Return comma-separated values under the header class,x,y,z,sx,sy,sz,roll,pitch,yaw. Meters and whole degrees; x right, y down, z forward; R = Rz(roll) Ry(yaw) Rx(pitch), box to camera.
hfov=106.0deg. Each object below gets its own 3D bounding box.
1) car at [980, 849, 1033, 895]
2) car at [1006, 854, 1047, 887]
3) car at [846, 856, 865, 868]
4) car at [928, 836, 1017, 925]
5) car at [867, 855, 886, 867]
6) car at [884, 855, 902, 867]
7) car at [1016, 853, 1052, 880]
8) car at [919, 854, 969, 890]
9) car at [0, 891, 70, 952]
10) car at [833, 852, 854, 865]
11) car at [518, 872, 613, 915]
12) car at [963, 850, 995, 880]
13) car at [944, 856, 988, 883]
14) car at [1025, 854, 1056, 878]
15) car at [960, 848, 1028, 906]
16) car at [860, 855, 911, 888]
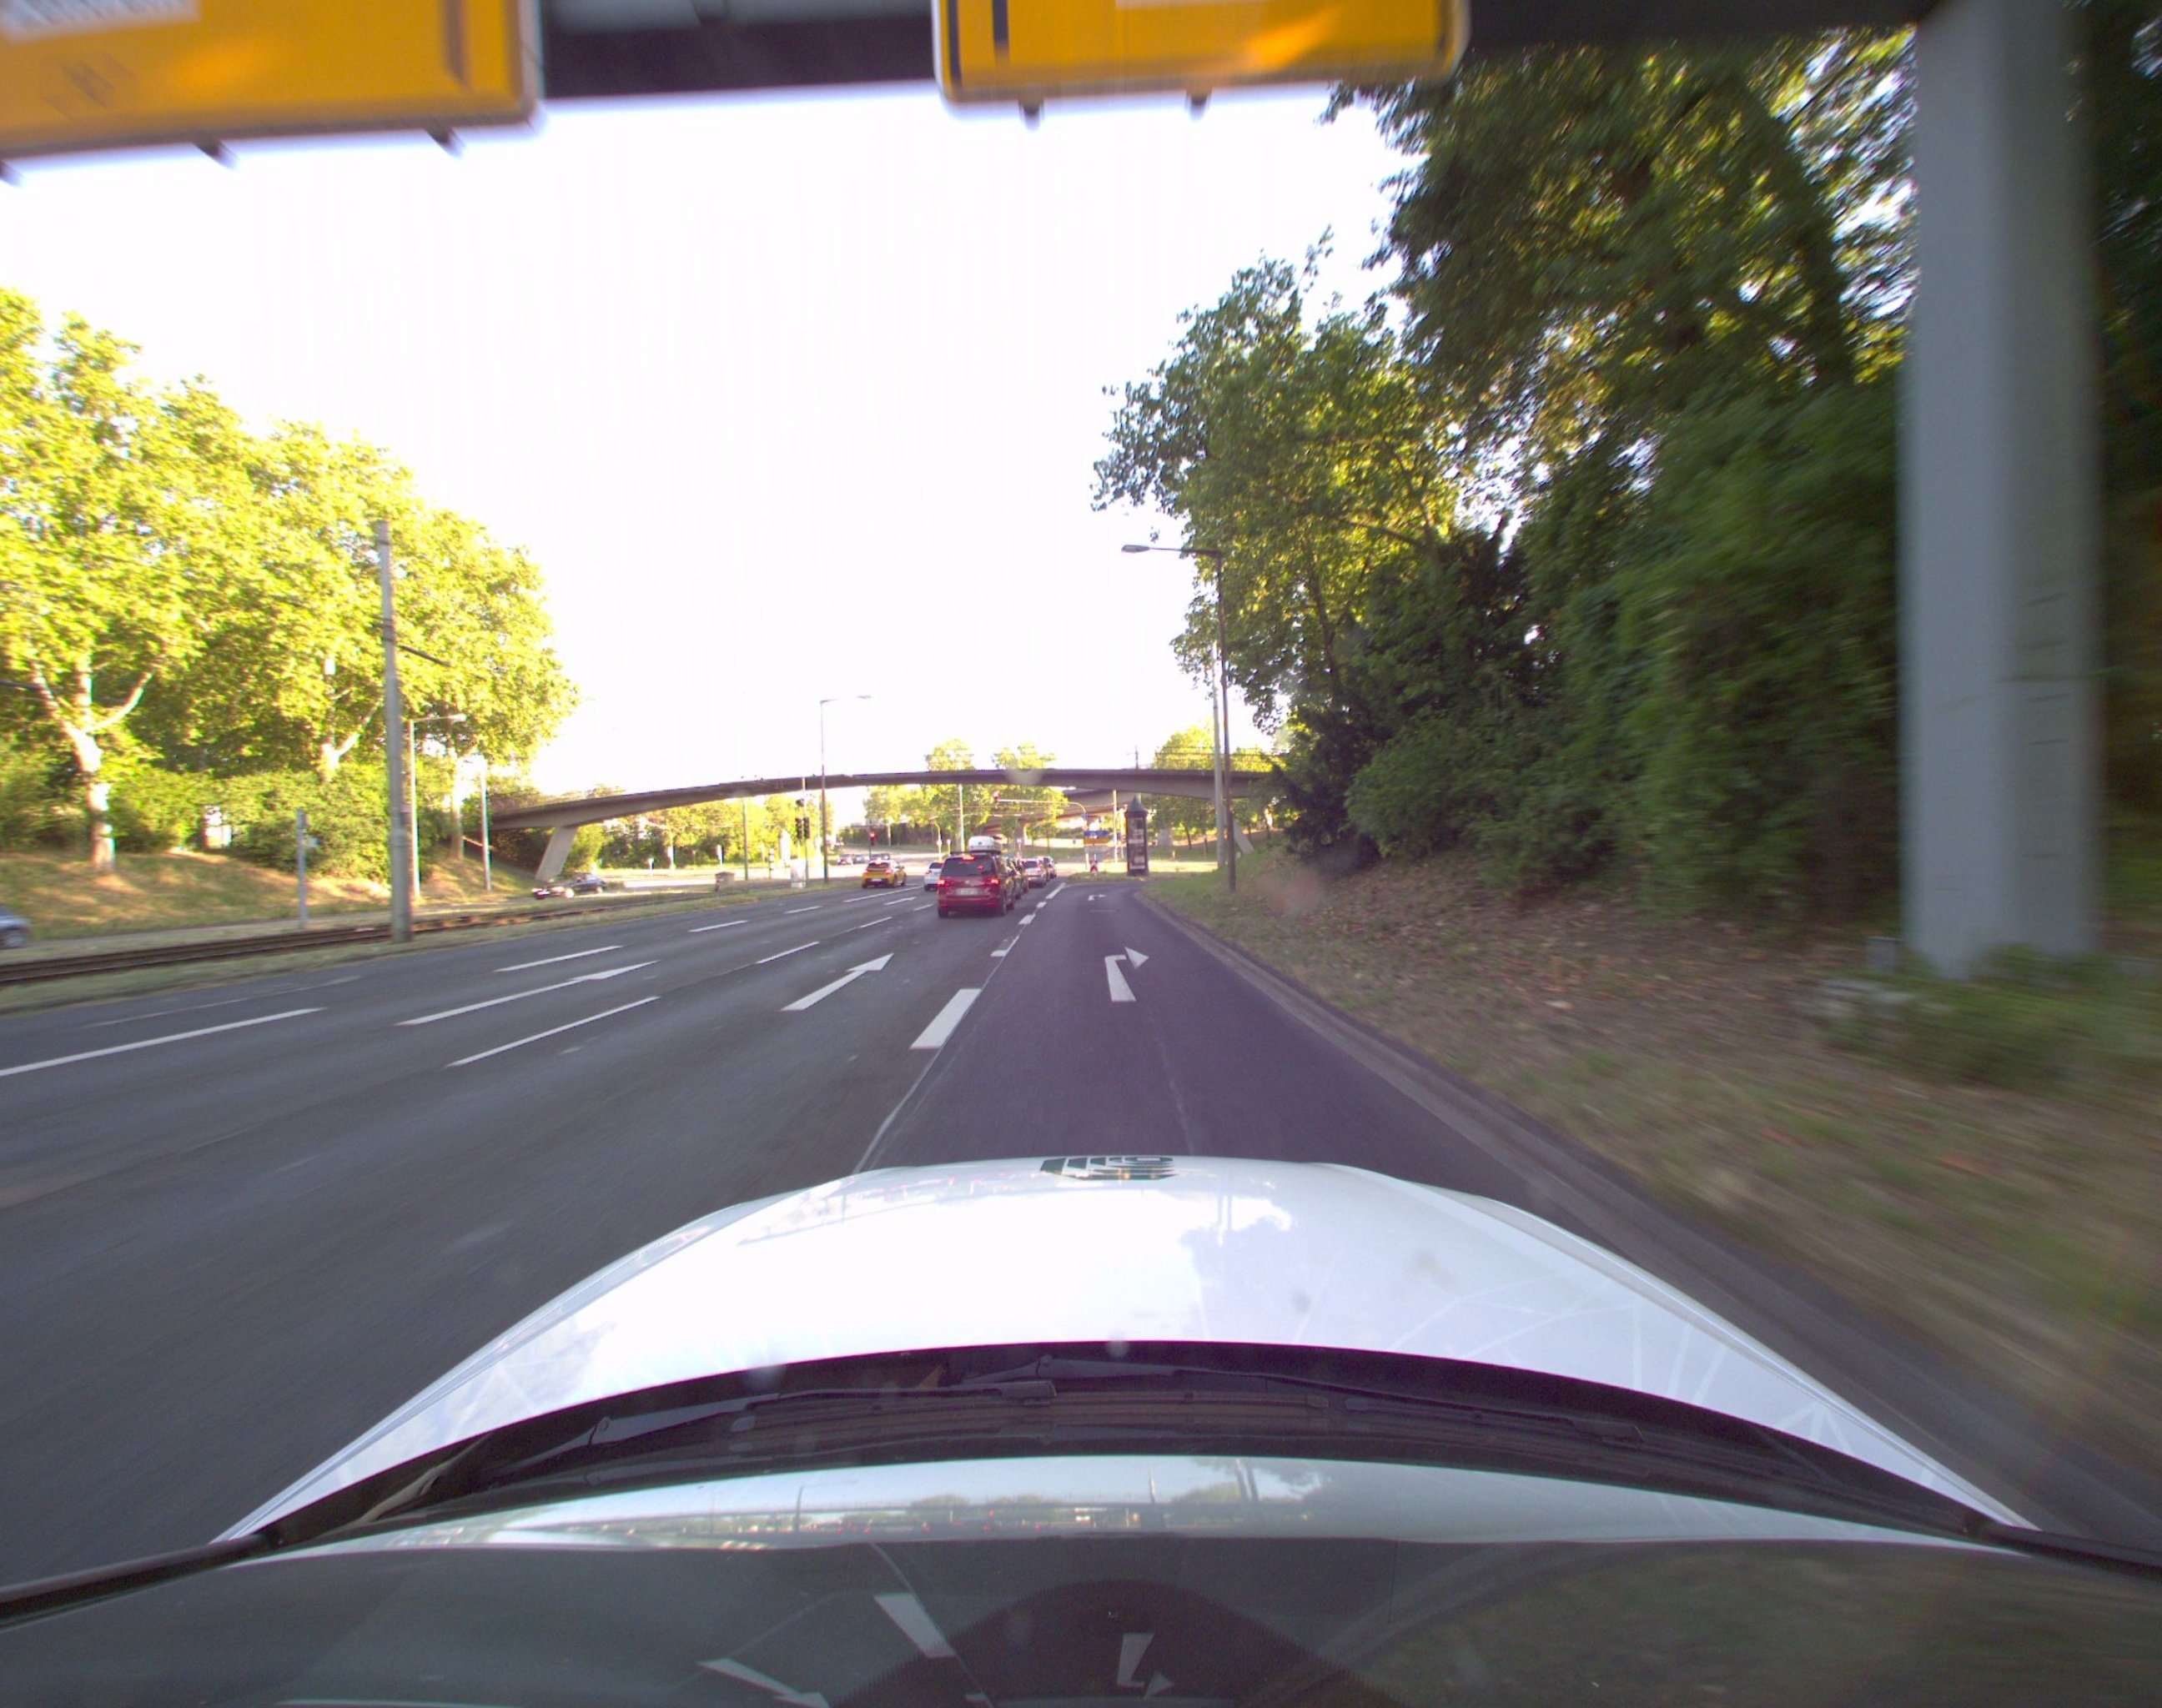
class,x,y,z,sx,sy,sz,roll,pitch,yaw
car,-3.148,0.725,34.963,1.786,1.749,4.000,-4,1,0
car,-2.799,0.822,42.762,1.786,1.481,4.000,-4,1,0
car,-34.239,1.246,123.840,1.873,1.772,3.998,-1,1,-1
car,-2.875,0.637,22.391,1.787,2.105,3.999,-4,0,0
car,-29.858,1.037,118.996,1.873,1.575,3.673,-1,1,-1
car,-29.003,1.115,125.695,1.873,1.772,3.998,-1,1,-1
car,-2.793,0.728,49.104,1.786,1.382,4.476,-4,1,0
car,-6.700,0.852,40.276,1.657,1.565,4.190,-4,1,0
car,-31.955,2.033,22.803,1.987,1.681,4.190,-3,0,0
car,-33.965,0.651,116.453,1.873,1.772,3.998,-1,1,-1
car,-28.516,2.138,45.219,1.910,2.013,4.521,-4,1,6
car,-6.805,0.690,54.731,1.789,1.792,4.818,-4,1,-5
car,-6.596,0.866,47.102,1.735,1.432,4.414,-1,1,2
car,-2.722,0.789,55.521,1.786,1.442,4.000,-4,1,0
car,-2.964,0.729,28.575,1.786,1.749,4.241,-4,1,0
car,-10.391,0.897,43.511,1.657,1.565,4.000,-4,1,0
